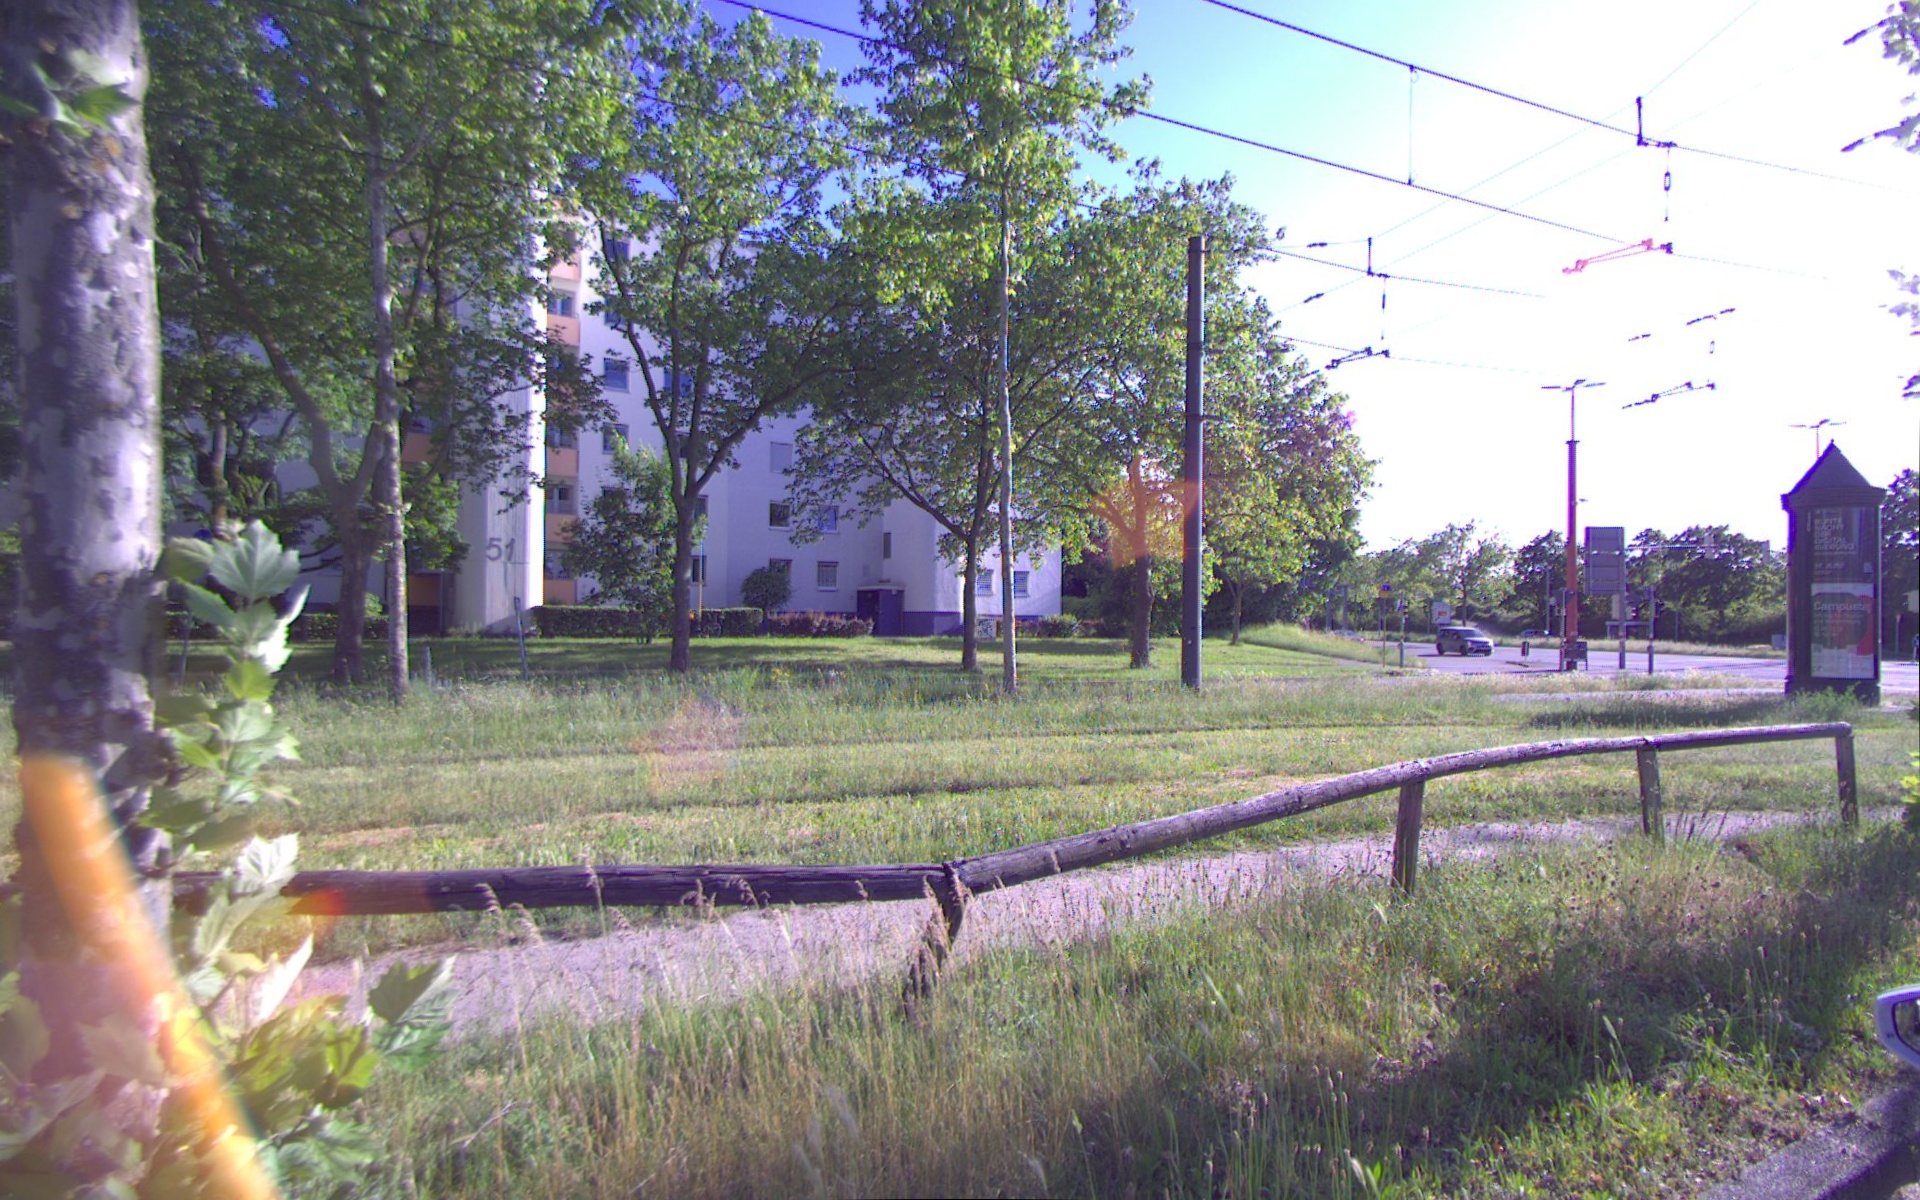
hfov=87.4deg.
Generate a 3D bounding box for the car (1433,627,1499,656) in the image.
[{"bbox_3d":[32.938,2.663,65.572,1.868,1.798,4.445,-1,-1,-3],"label":"car"}]

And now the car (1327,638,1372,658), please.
[{"bbox_3d":[32.717,4.014,84.487,1.868,1.494,4.564,-1,-1,-3],"label":"car"}]
